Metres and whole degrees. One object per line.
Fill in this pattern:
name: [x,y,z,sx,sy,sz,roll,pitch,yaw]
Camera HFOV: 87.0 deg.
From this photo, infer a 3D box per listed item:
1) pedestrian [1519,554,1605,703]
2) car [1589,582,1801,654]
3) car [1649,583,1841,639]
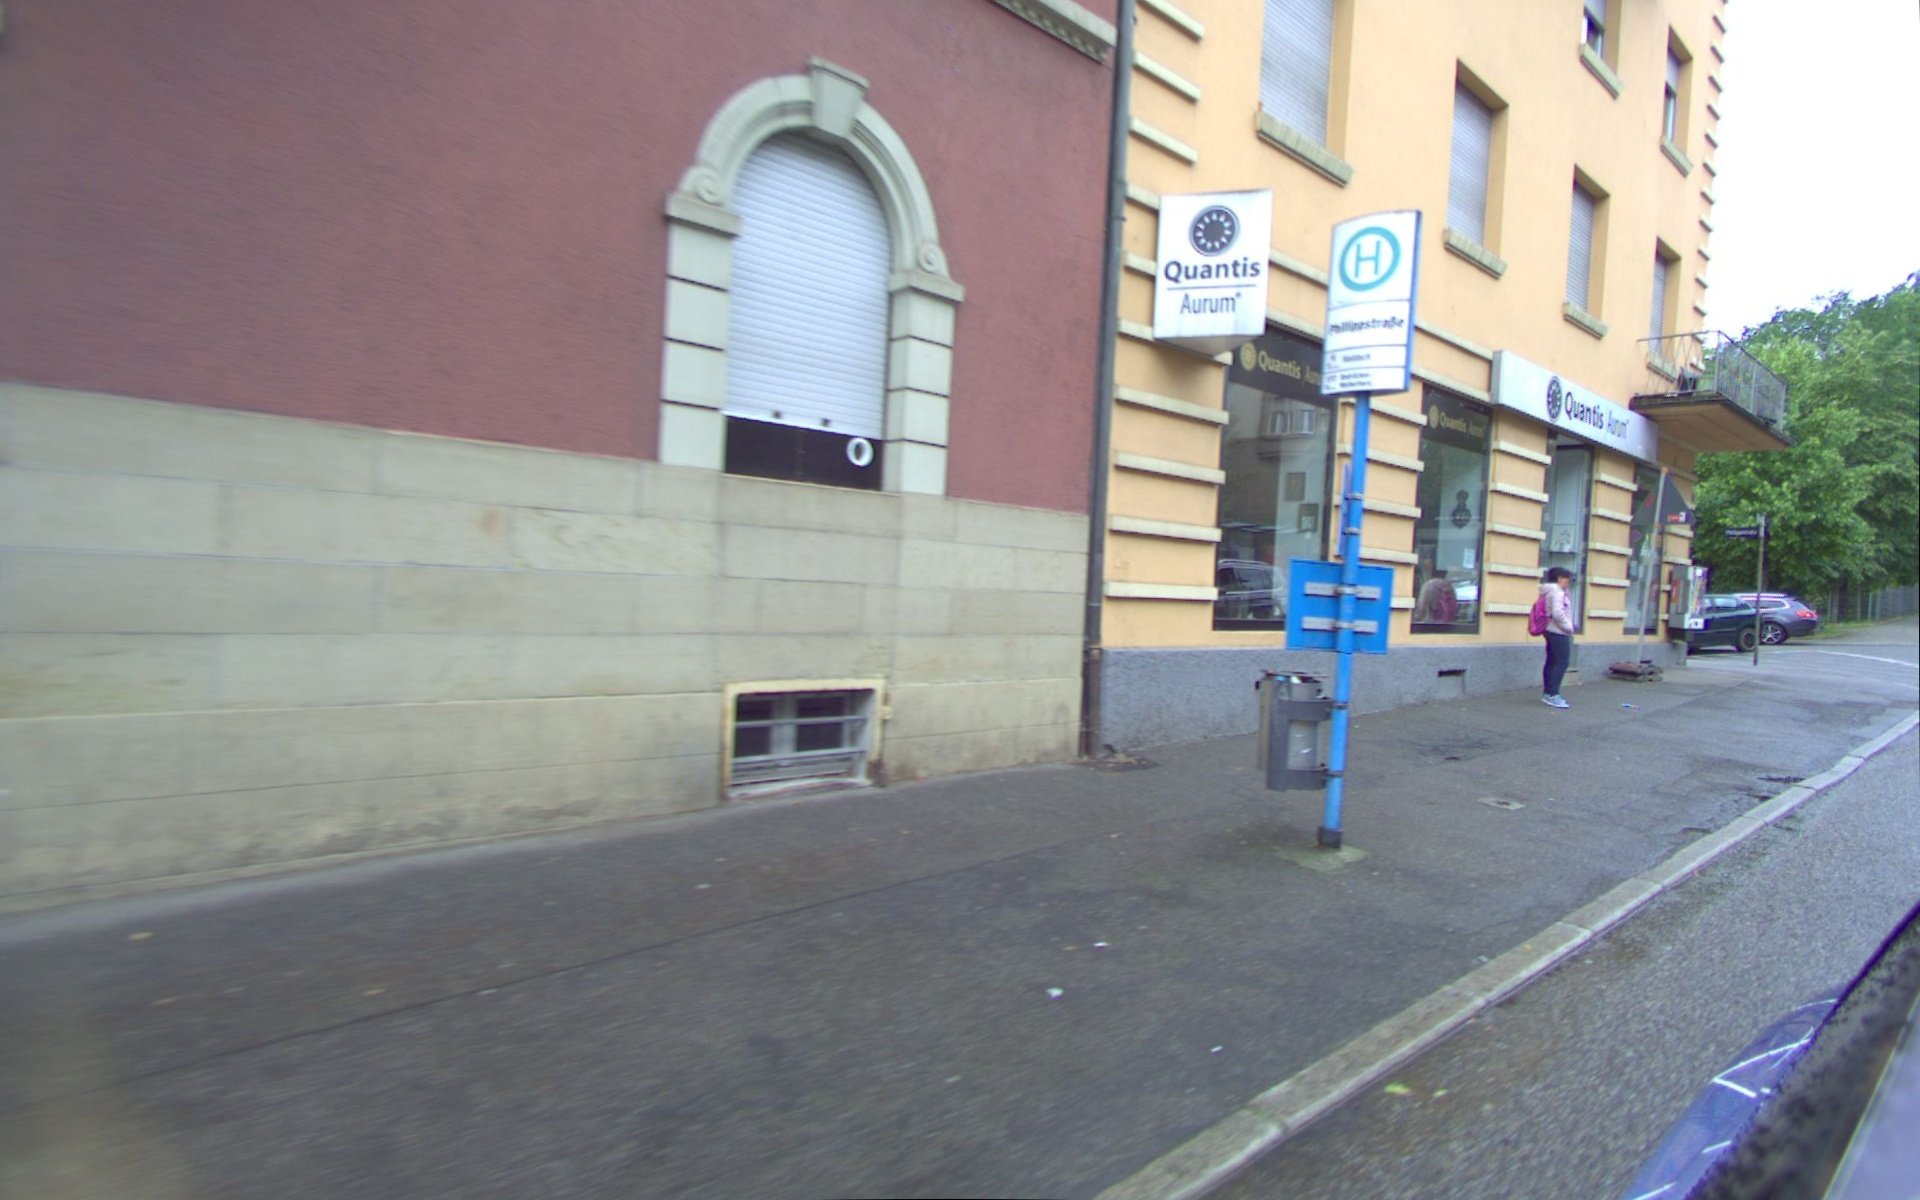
pedestrian: [6.873,0.291,11.575,0.762,1.609,0.704,2,3,31]
car: [18.158,0.410,25.088,4.027,1.487,1.858,-3,1,-8]
car: [23.129,0.338,29.907,1.970,1.517,4.268,1,-1,-45]
